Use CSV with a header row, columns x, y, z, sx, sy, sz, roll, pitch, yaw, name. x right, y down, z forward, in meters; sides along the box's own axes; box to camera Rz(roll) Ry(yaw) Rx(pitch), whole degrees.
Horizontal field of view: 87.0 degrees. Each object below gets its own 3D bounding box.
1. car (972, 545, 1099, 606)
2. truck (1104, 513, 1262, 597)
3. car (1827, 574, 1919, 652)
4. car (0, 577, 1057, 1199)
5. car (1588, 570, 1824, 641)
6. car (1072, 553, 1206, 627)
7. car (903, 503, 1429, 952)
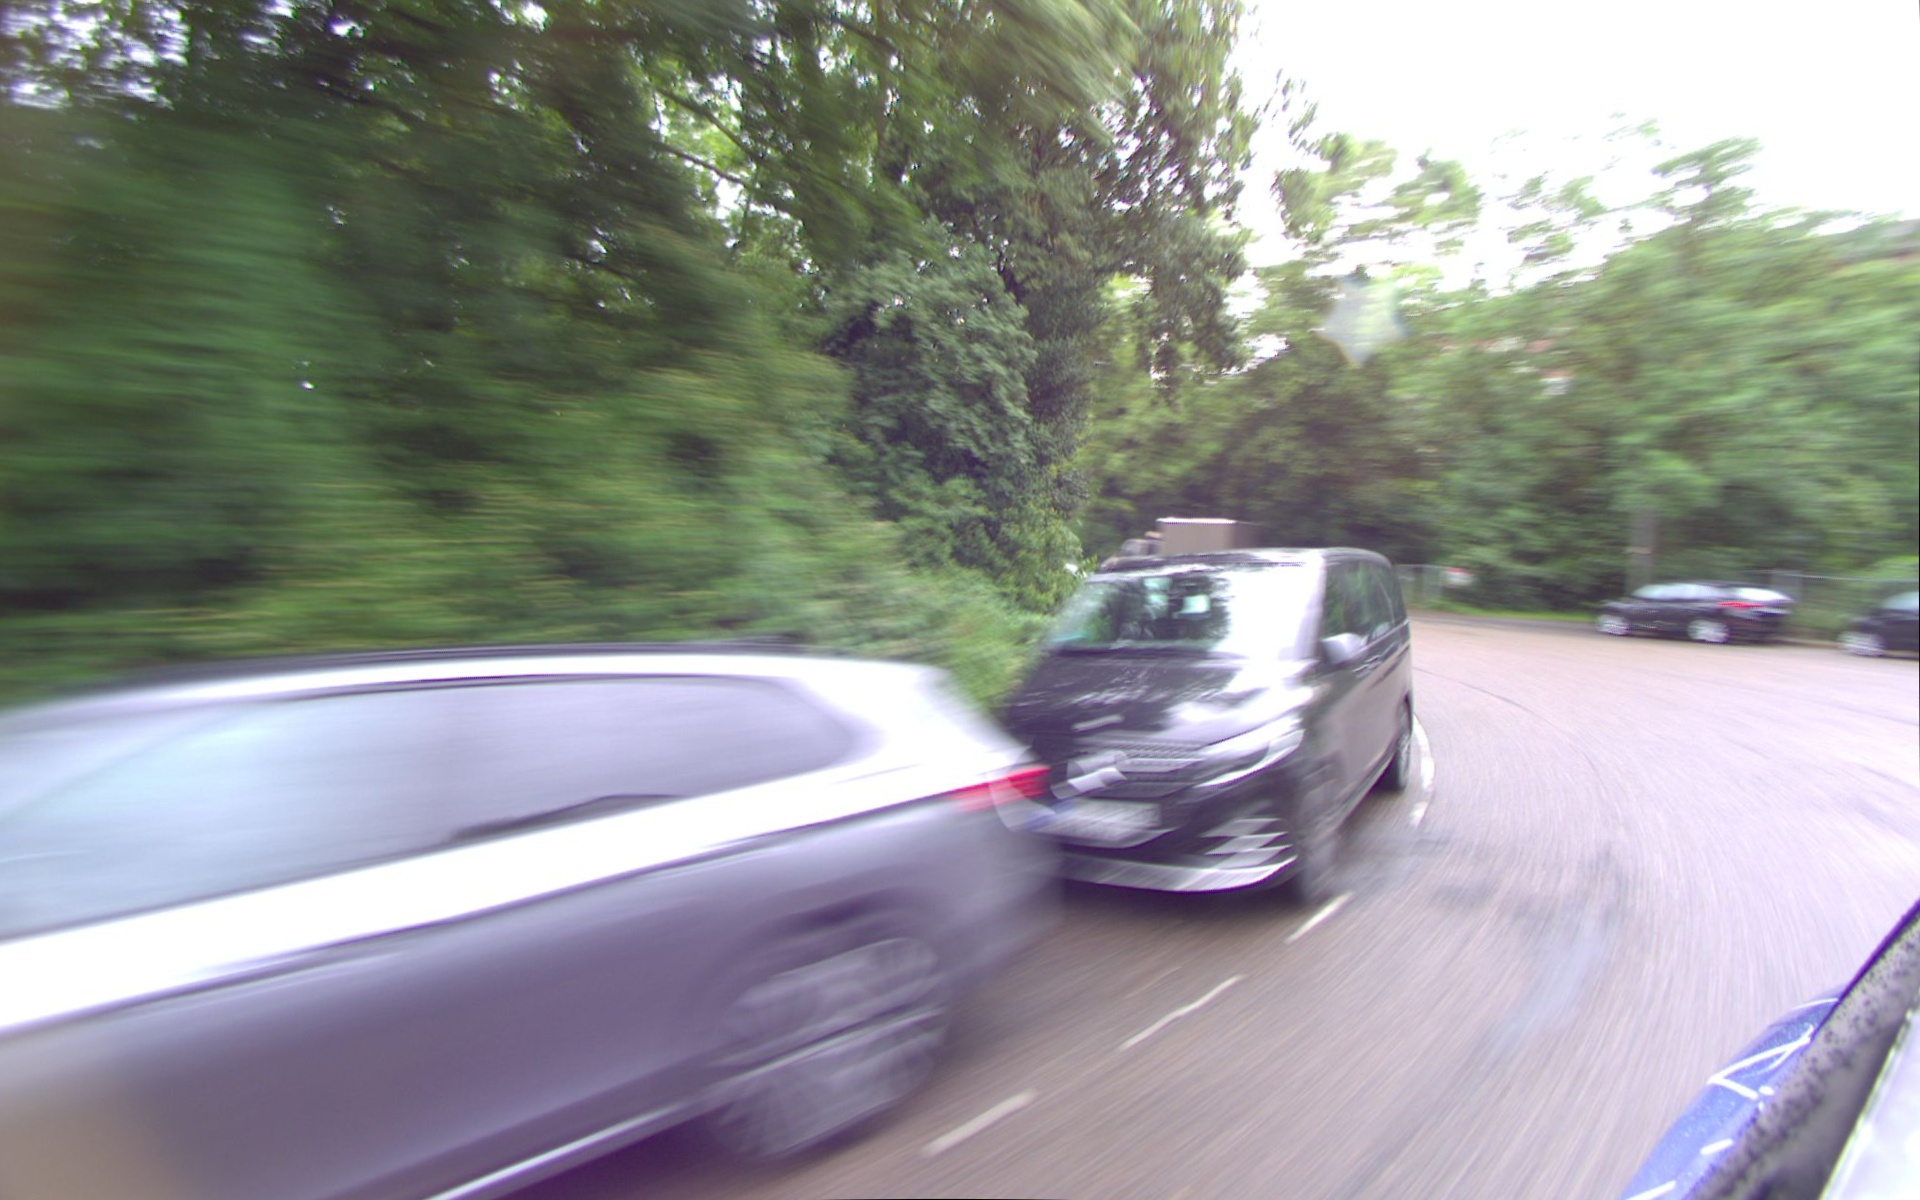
x,y,z,sx,sy,sz,roll,pitch,yaw,name
2.048,-0.747,28.643,1.647,1.446,3.995,-1,5,-29,car
8.961,-1.880,41.091,2.194,3.097,5.937,2,2,-43,truck
18.566,0.264,18.534,1.880,1.429,4.130,1,2,2,car
-2.067,0.741,2.545,4.791,1.507,1.903,1,-2,-43,car
17.865,0.052,24.550,1.958,1.481,4.381,0,2,-11,car
4.055,-0.303,23.549,1.629,1.464,3.712,-1,5,-15,car
1.838,0.542,6.985,1.983,1.911,4.981,-2,-1,31,car
